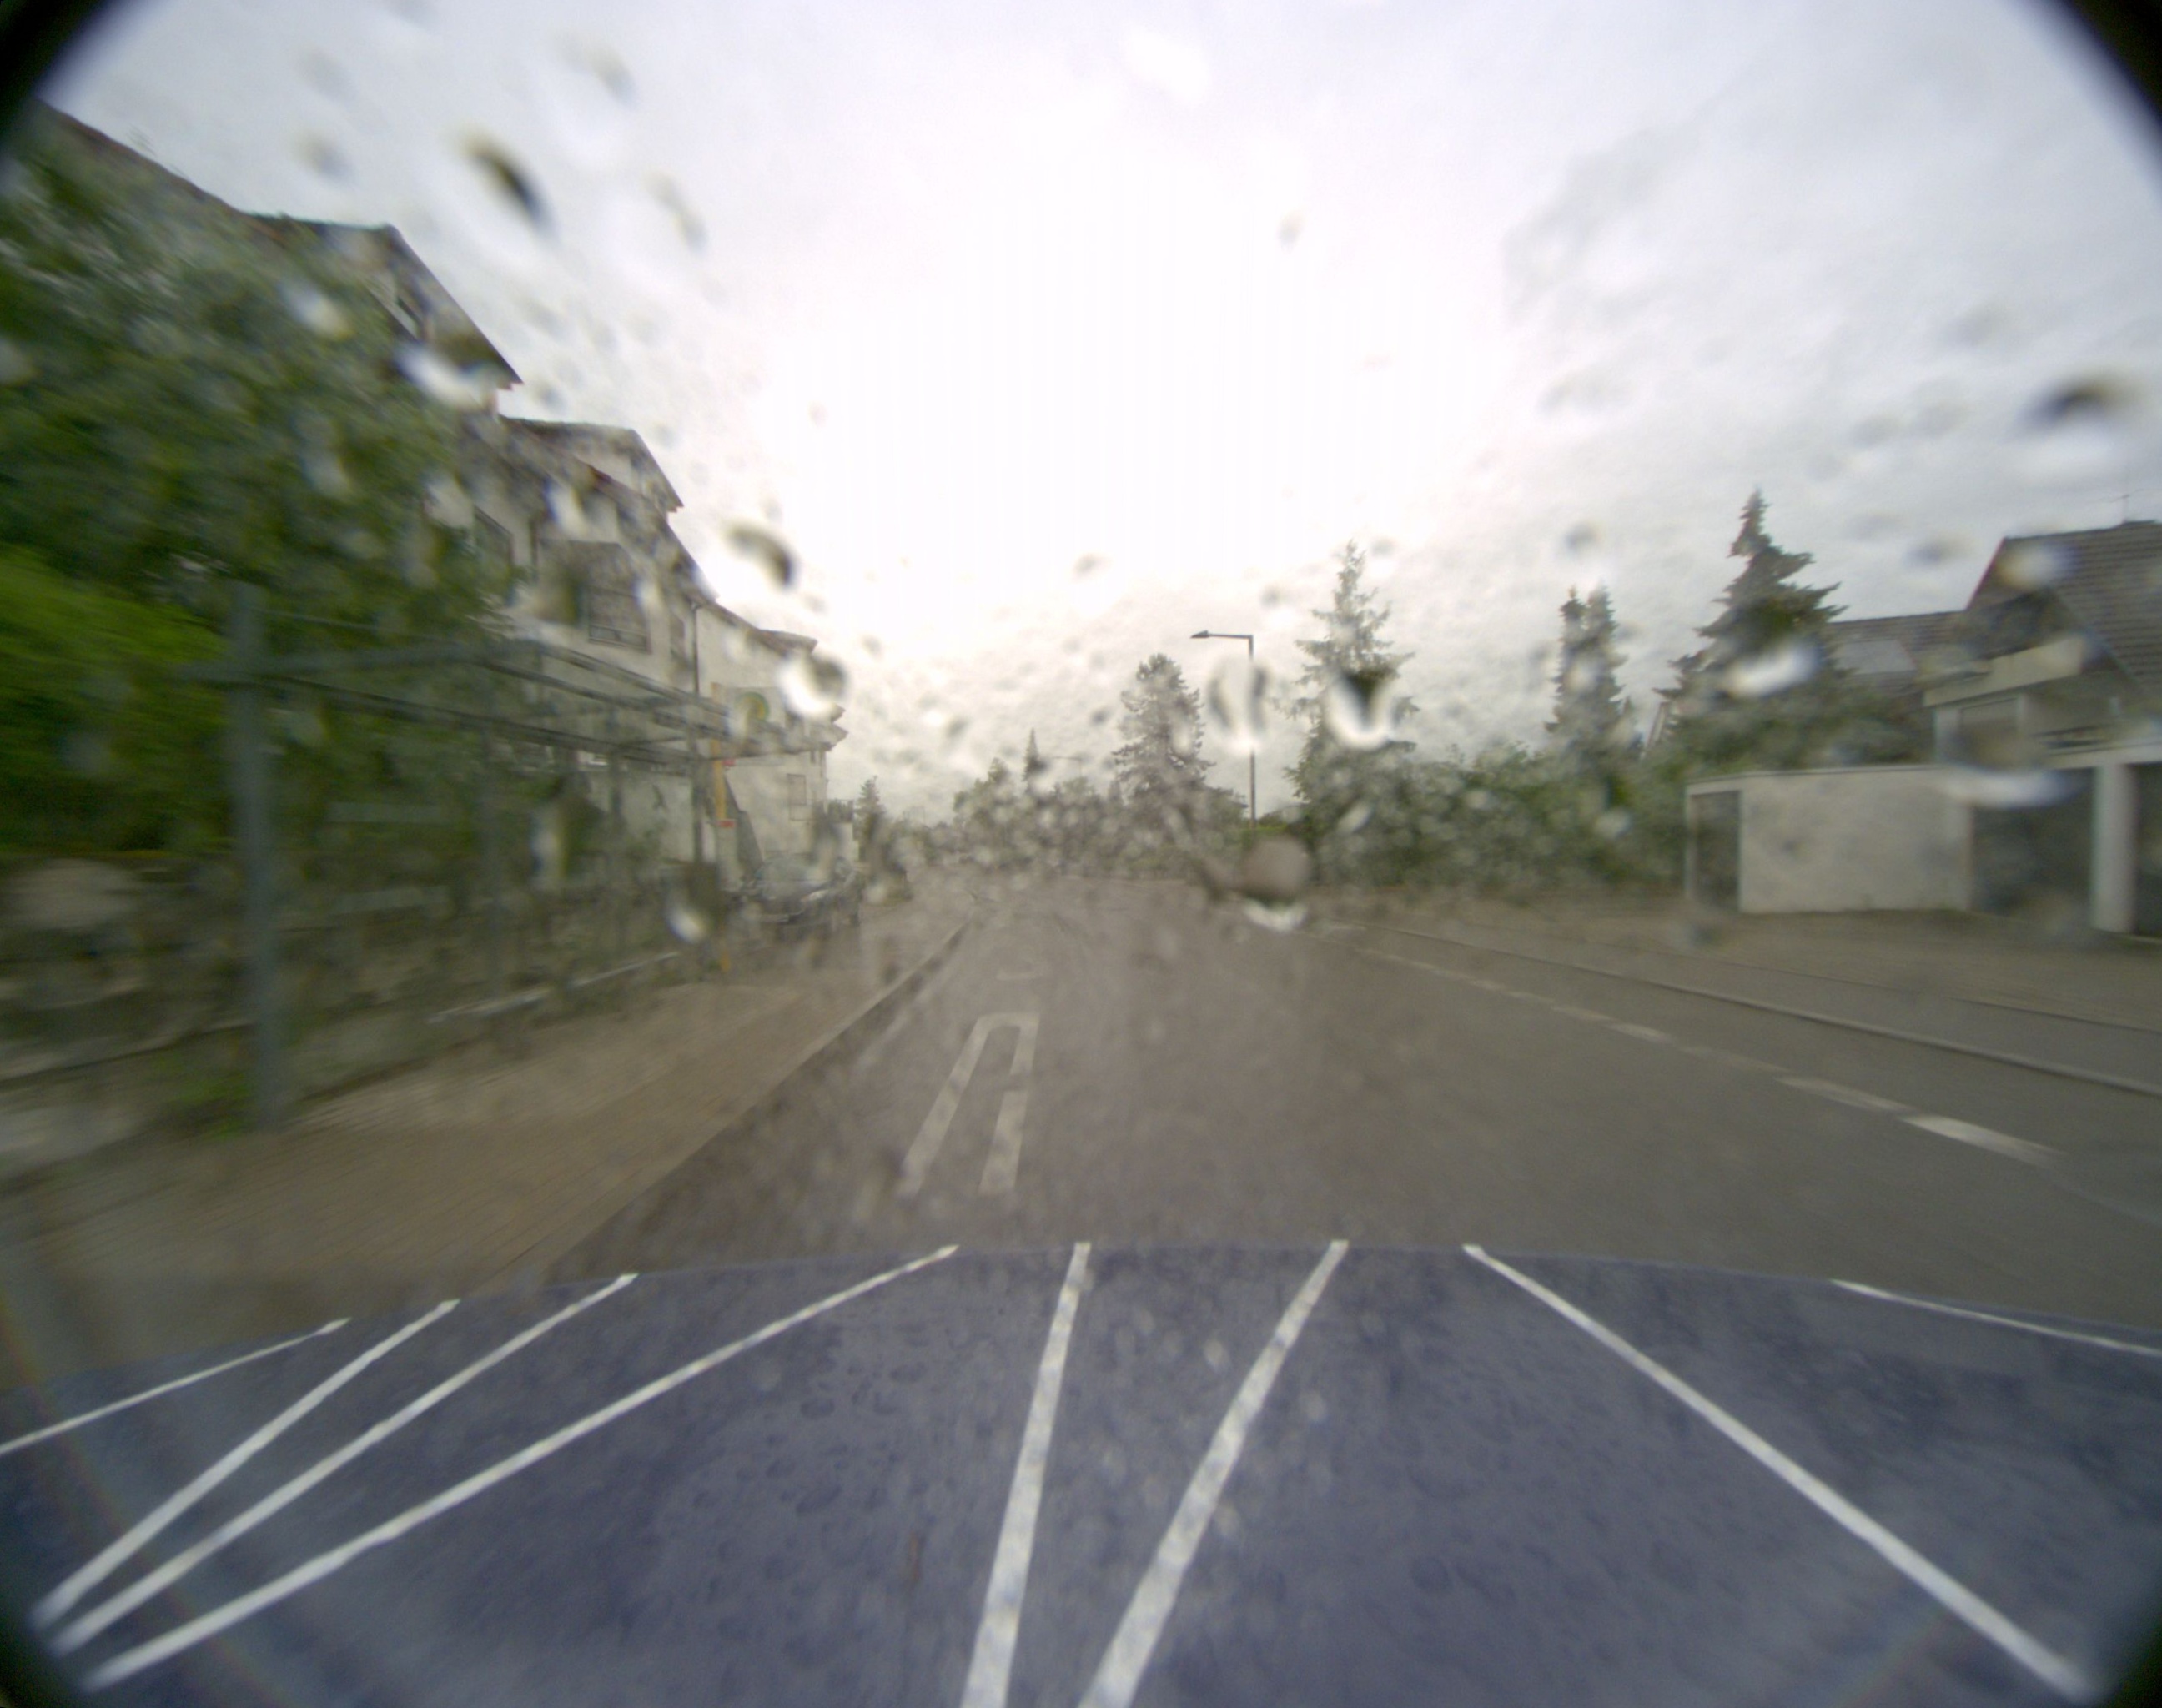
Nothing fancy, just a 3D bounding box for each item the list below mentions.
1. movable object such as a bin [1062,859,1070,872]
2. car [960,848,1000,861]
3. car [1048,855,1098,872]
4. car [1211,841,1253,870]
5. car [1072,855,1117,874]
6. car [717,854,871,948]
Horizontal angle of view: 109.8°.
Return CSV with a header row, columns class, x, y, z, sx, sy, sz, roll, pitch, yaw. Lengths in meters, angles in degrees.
class,x,y,z,sx,sy,sz,roll,pitch,yaw
movable object such as a bin,-1.107,0.836,56.421,0.372,0.982,0.557,-2,1,-18
car,-12.636,0.086,95.523,4.561,1.467,1.835,-3,2,-31
car,-0.685,0.775,65.823,4.001,1.264,1.871,-2,1,-12
car,8.638,0.069,43.808,1.997,1.565,4.001,-2,1,6
car,0.934,0.745,56.097,2.001,1.300,4.426,-2,1,-17
car,-5.076,0.757,14.004,1.710,1.445,4.018,1,0,-7
